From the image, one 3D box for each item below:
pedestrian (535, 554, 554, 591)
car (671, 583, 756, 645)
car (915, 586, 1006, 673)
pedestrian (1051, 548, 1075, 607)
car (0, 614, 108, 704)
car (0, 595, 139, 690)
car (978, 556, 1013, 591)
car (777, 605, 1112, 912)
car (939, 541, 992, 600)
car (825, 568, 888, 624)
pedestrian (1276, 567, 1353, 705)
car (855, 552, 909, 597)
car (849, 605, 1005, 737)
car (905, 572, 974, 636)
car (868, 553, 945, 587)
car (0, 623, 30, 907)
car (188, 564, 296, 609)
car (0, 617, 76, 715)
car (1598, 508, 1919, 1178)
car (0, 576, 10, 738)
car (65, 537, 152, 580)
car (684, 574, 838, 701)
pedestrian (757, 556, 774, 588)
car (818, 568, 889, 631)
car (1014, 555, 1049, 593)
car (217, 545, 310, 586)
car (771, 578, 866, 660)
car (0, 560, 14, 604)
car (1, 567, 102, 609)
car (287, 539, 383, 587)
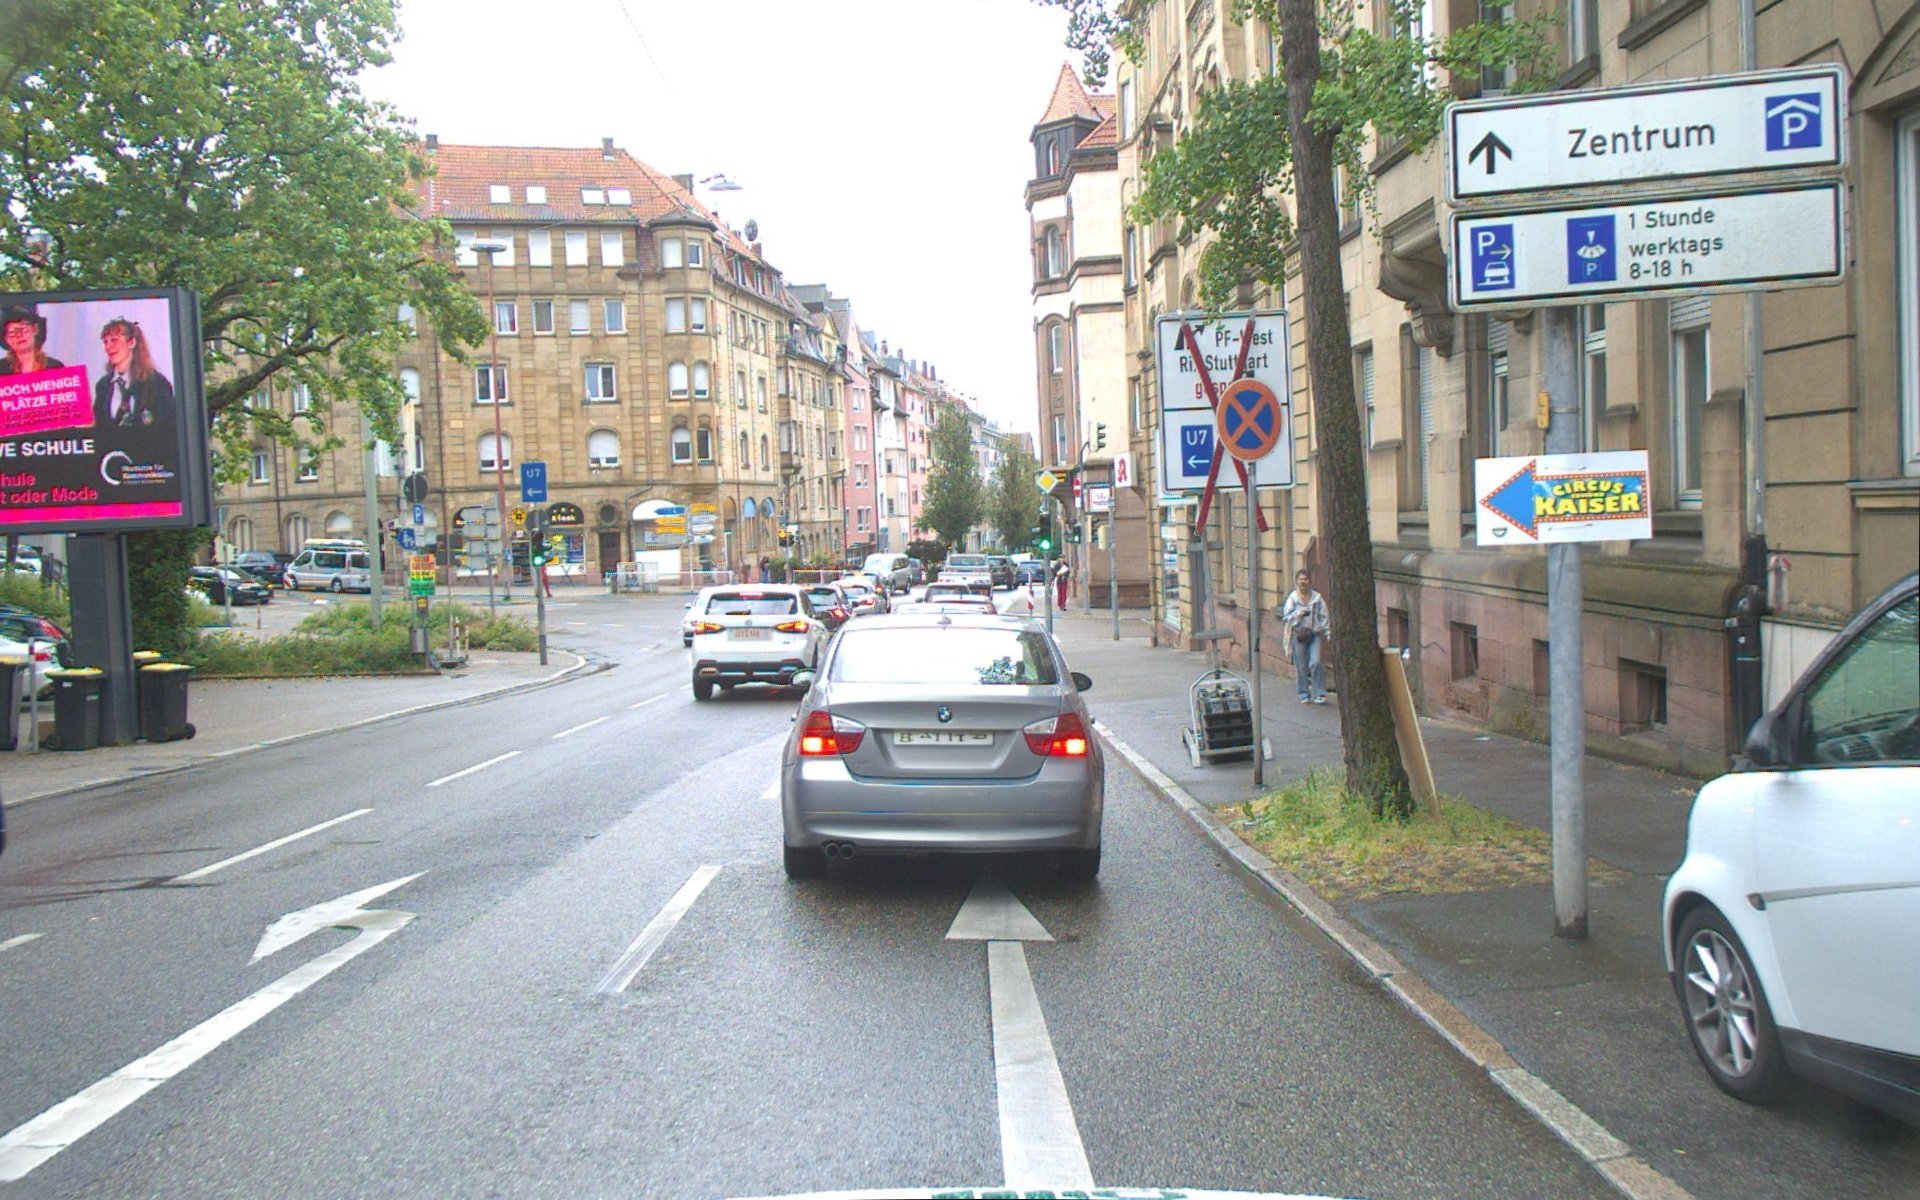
[{"bbox_3d":[-18.564,-1.231,73.914,0.525,1.605,0.720,-2,0,16],"label":"pedestrian"},{"bbox_3d":[-6.886,0.367,46.595,1.703,1.553,4.471,-4,0,-1],"label":"car"},{"bbox_3d":[0.034,0.486,30.432,1.562,1.490,4.001,0,1,1],"label":"car"},{"bbox_3d":[3.457,-0.745,55.521,0.727,1.943,0.659,-1,0,-1],"label":"pedestrian"},{"bbox_3d":[-16.943,1.017,28.373,3.915,1.476,1.758,-1,0,-21],"label":"car"},{"bbox_3d":[-17.571,0.792,30.663,4.068,1.682,1.756,-1,0,-24],"label":"car"},{"bbox_3d":[1.772,-1.296,81.795,1.689,1.579,4.001,1,0,2],"label":"car"},{"bbox_3d":[-0.048,0.760,9.661,1.590,1.407,3.615,0,0,1],"label":"car"},{"bbox_3d":[0.178,-1.092,63.129,1.953,2.143,3.999,0,0,0],"label":"car"},{"bbox_3d":[-3.294,-0.152,53.179,1.723,1.737,4.001,0,0,1],"label":"car"},{"bbox_3d":[4.158,0.417,19.423,0.618,1.534,0.693,-5,0,-1],"label":"pedestrian"},{"bbox_3d":[-3.514,-1.169,75.230,1.724,1.959,4.327,-1,1,7],"label":"car"},{"bbox_3d":[-0.334,0.786,20.302,1.723,1.407,4.001,0,0,1],"label":"car"},{"bbox_3d":[-0.525,0.080,43.664,1.723,1.594,4.000,0,1,0],"label":"car"},{"bbox_3d":[-3.584,-2.008,111.499,5.071,2.049,2.698,1,0,-1],"label":"car"},{"bbox_3d":[-5.831,0.945,6.965,1.681,1.475,3.741,-5,0,-2],"label":"car"},{"bbox_3d":[-29.321,-0.576,67.537,4.157,1.756,1.996,1,2,31],"label":"car"},{"bbox_3d":[-16.247,1.059,25.773,4.112,1.481,1.783,-1,0,-21],"label":"car"},{"bbox_3d":[2.845,0.529,4.037,1.273,1.569,2.976,-6,0,-1],"label":"car"},{"bbox_3d":[-14.906,0.790,20.643,4.988,2.142,1.980,-1,0,-22],"label":"car"},{"bbox_3d":[-43.996,-2.162,85.457,4.197,2.138,1.997,2,2,28],"label":"car"},{"bbox_3d":[-2.908,0.493,24.931,1.830,1.653,4.000,-2,1,-1],"label":"car"},{"bbox_3d":[-9.640,-1.392,82.009,0.716,1.605,0.528,-1,0,8],"label":"pedestrian"},{"bbox_3d":[-3.010,-0.036,47.356,1.723,1.737,4.001,0,0,1],"label":"car"},{"bbox_3d":[4.036,-1.439,92.930,1.689,2.049,4.002,1,0,5],"label":"car"},{"bbox_3d":[-33.667,-1.691,79.938,4.197,1.870,1.997,2,2,28],"label":"car"},{"bbox_3d":[-3.100,0.380,37.013,1.723,1.737,4.001,0,0,1],"label":"car"},{"bbox_3d":[-45.992,-0.828,77.153,3.914,2.049,1.573,0,1,32],"label":"car"},{"bbox_3d":[-40.339,-0.538,73.417,4.155,1.756,1.997,0,3,29],"label":"car"},{"bbox_3d":[-29.336,-1.747,77.602,4.197,2.138,1.997,2,2,28],"label":"car"}]
